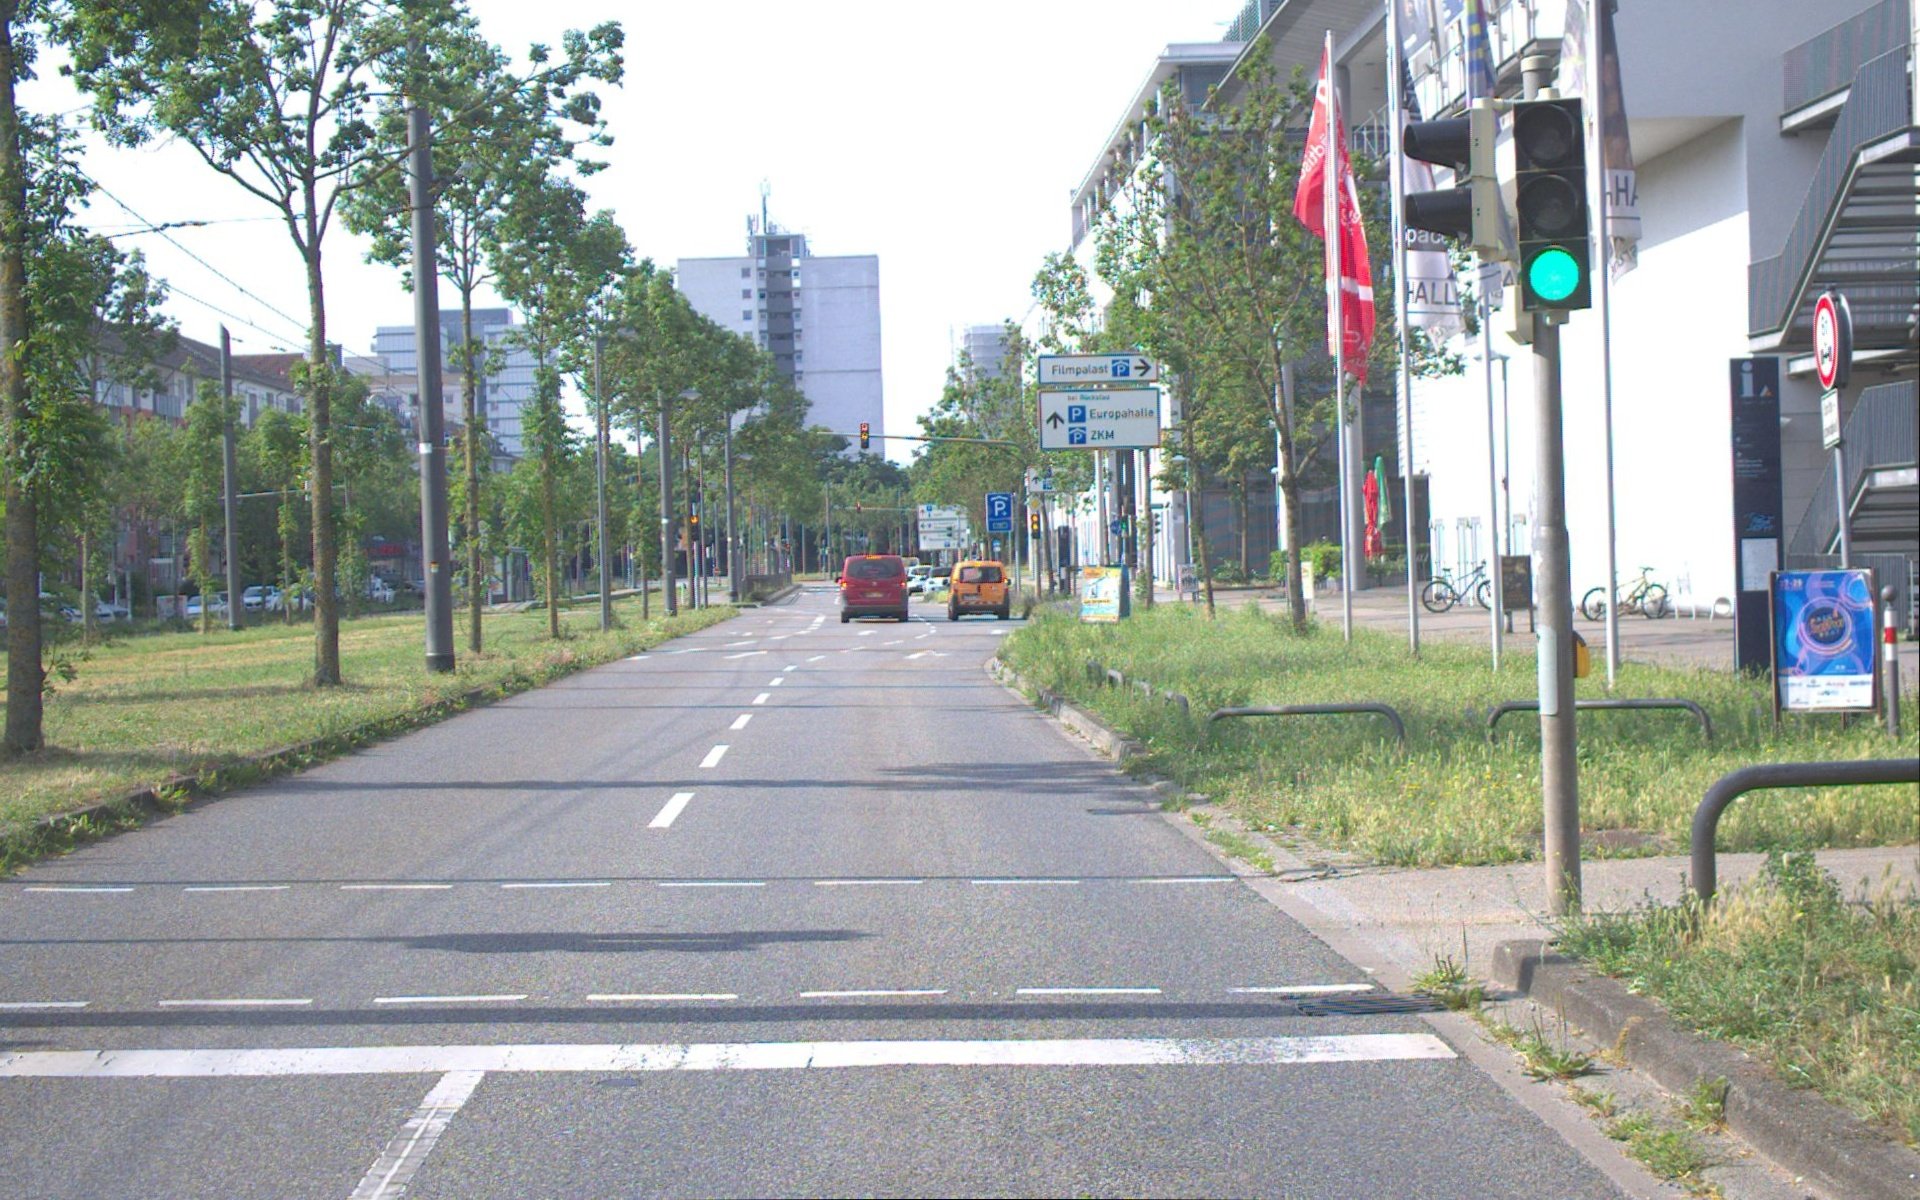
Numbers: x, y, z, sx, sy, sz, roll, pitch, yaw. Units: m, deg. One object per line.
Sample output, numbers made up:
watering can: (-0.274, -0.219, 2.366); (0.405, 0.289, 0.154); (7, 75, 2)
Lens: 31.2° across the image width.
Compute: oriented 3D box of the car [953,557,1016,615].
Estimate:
car: (0.690, -0.425, 100.106); (1.748, 1.645, 3.216); (1, 1, -1)

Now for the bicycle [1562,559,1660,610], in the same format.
bicycle: (11.562, -0.276, 61.084); (1.621, 0.885, 0.551); (1, 0, -2)

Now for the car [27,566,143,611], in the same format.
car: (-32.203, -0.443, 126.508); (3.992, 1.590, 1.653); (1, 1, 24)

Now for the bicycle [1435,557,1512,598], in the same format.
bicycle: (11.332, -0.488, 75.875); (1.621, 0.885, 0.551); (1, 0, 1)

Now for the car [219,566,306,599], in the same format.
car: (-34.509, -0.856, 170.036); (3.992, 1.590, 1.653); (1, 1, 24)

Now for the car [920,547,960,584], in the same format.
car: (-0.901, -1.559, 154.395); (1.748, 1.645, 3.216); (1, 1, -1)

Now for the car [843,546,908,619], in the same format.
car: (-2.347, -0.498, 96.006); (1.748, 2.007, 3.216); (1, 1, -1)

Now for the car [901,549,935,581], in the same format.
car: (-2.216, -1.841, 180.580); (1.748, 1.645, 3.216); (1, 1, -1)

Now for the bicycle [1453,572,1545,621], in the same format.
bicycle: (10.043, -0.068, 64.084); (1.621, 0.885, 0.551); (1, 0, -2)

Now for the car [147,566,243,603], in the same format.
car: (-34.308, -0.691, 154.185); (3.992, 1.590, 1.653); (1, 1, 24)

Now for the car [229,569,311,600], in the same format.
car: (-36.120, -0.815, 180.068); (3.992, 1.590, 1.653); (1, 1, 24)

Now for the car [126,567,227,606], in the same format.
car: (-33.251, -0.594, 145.830); (3.992, 1.590, 1.653); (1, 1, 24)
